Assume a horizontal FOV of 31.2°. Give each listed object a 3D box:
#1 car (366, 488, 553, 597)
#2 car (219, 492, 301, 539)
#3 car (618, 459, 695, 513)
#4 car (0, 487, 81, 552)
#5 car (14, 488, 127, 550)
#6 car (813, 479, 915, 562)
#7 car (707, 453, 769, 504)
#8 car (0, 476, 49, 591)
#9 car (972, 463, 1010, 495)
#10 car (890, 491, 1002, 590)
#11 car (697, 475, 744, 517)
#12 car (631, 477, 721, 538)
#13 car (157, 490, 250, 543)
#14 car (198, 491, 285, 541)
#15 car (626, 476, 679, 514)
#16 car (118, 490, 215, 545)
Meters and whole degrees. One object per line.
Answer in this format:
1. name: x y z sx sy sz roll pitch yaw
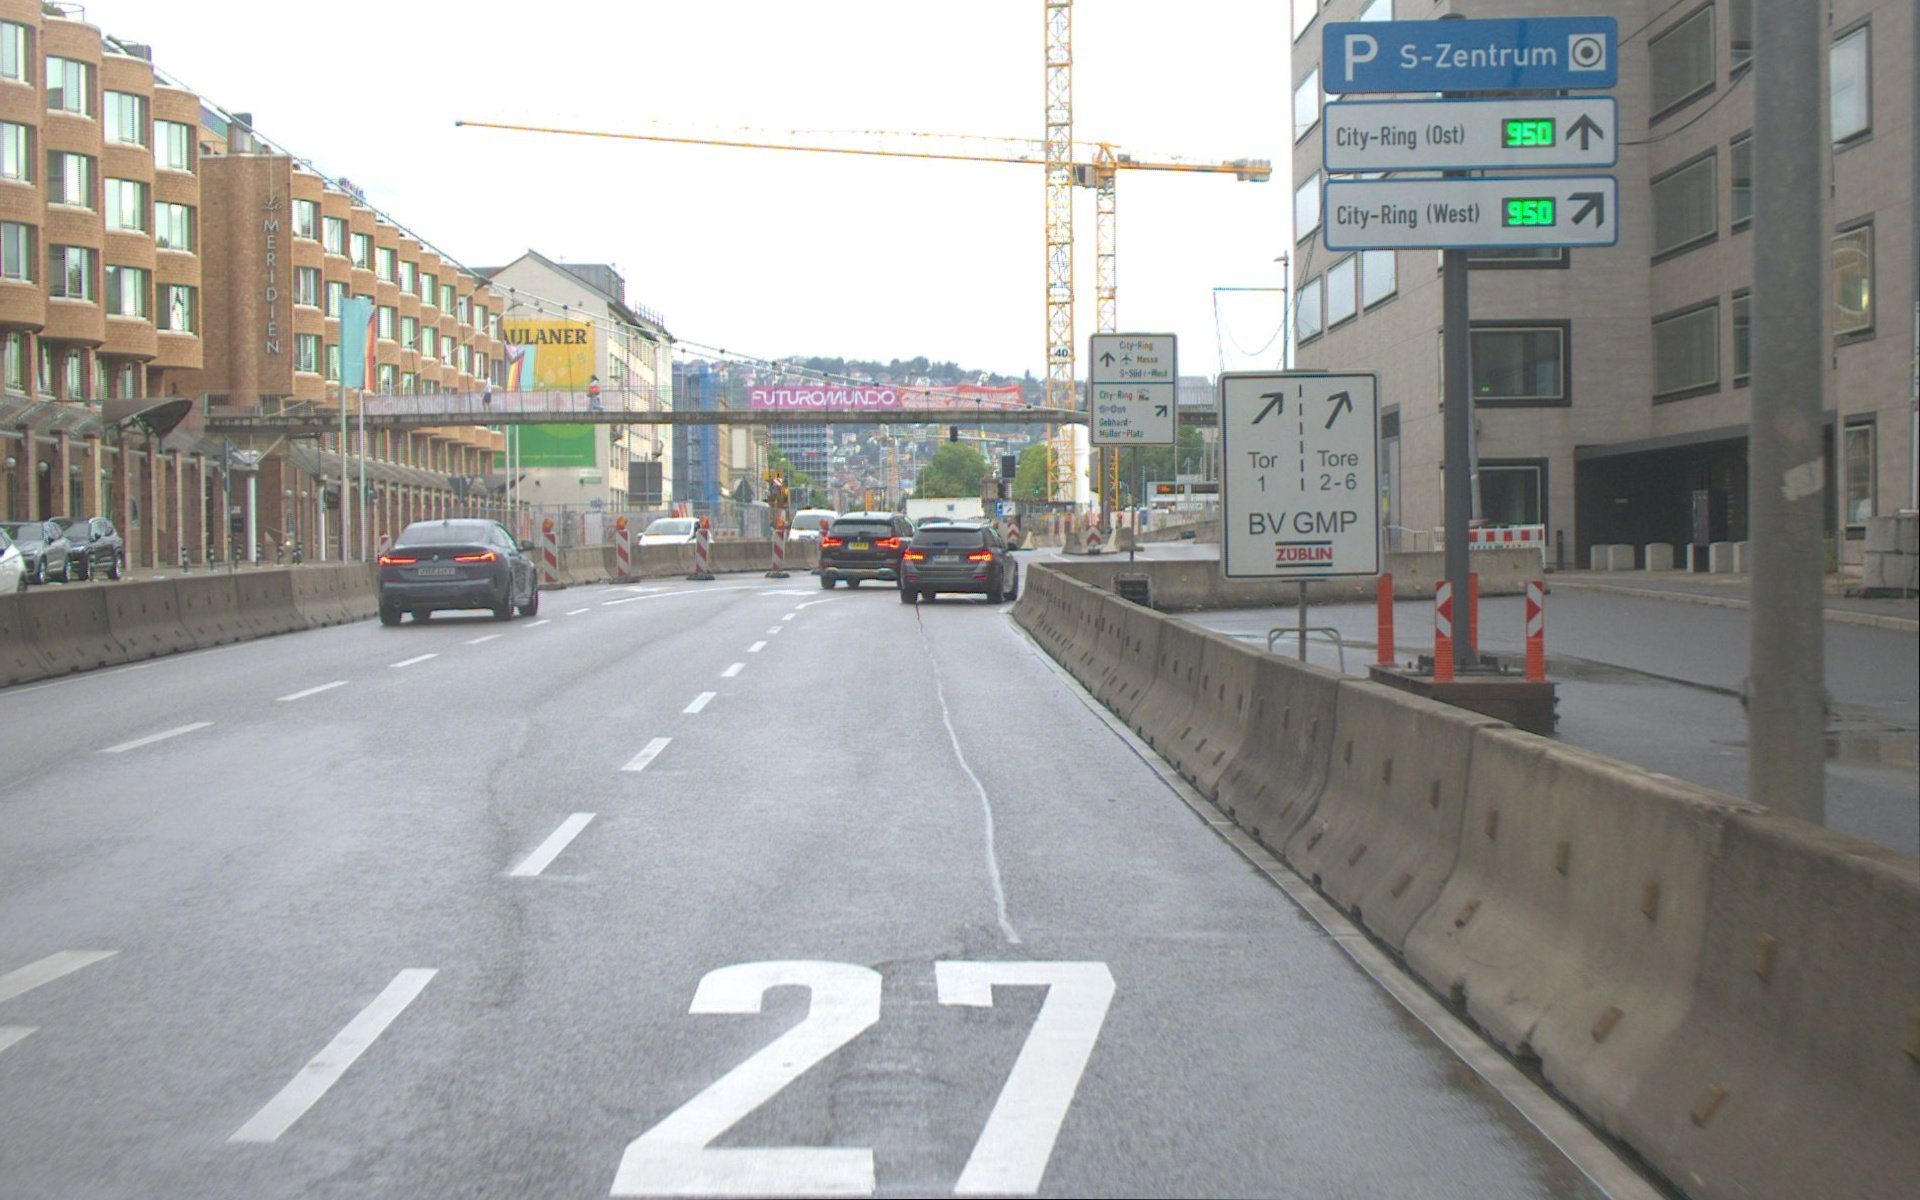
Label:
1. car: -6.995 -0.838 48.451 1.791 1.421 4.384 -1 2 3
2. car: -25.186 -3.048 123.908 1.993 1.614 4.691 -1 2 0
3. car: -9.497 -3.574 107.854 1.993 1.614 4.763 -1 2 0
4. car: -24.470 -2.096 89.651 1.993 1.614 4.318 -1 2 0
5. car: -24.422 -2.235 94.521 1.993 1.614 4.318 -1 2 0
6. car: -2.043 -1.714 73.929 1.900 1.687 4.000 -1 2 2
7. car: -8.279 -4.523 128.368 1.993 1.820 4.763 -1 2 0
8. car: -14.855 -0.947 50.465 1.820 1.613 4.192 -1 3 0
9. car: 1.710 -6.618 188.292 1.900 1.687 4.000 -1 2 2
10. car: -0.224 -1.092 62.053 1.900 1.687 4.000 -1 2 1
11. car: -11.925 -5.174 171.643 1.993 2.006 4.000 -1 2 0
12. car: -7.911 -2.599 96.248 1.993 1.614 4.763 -1 2 1
13. car: -24.551 -2.719 111.744 1.993 1.614 4.691 -1 2 0
14. car: -24.588 -2.887 117.713 1.993 1.614 4.691 -1 2 0
15. car: -13.831 -4.728 154.703 1.993 1.614 4.763 -1 2 -1
16. car: -24.556 -2.570 106.475 1.993 1.614 4.318 -1 2 0
